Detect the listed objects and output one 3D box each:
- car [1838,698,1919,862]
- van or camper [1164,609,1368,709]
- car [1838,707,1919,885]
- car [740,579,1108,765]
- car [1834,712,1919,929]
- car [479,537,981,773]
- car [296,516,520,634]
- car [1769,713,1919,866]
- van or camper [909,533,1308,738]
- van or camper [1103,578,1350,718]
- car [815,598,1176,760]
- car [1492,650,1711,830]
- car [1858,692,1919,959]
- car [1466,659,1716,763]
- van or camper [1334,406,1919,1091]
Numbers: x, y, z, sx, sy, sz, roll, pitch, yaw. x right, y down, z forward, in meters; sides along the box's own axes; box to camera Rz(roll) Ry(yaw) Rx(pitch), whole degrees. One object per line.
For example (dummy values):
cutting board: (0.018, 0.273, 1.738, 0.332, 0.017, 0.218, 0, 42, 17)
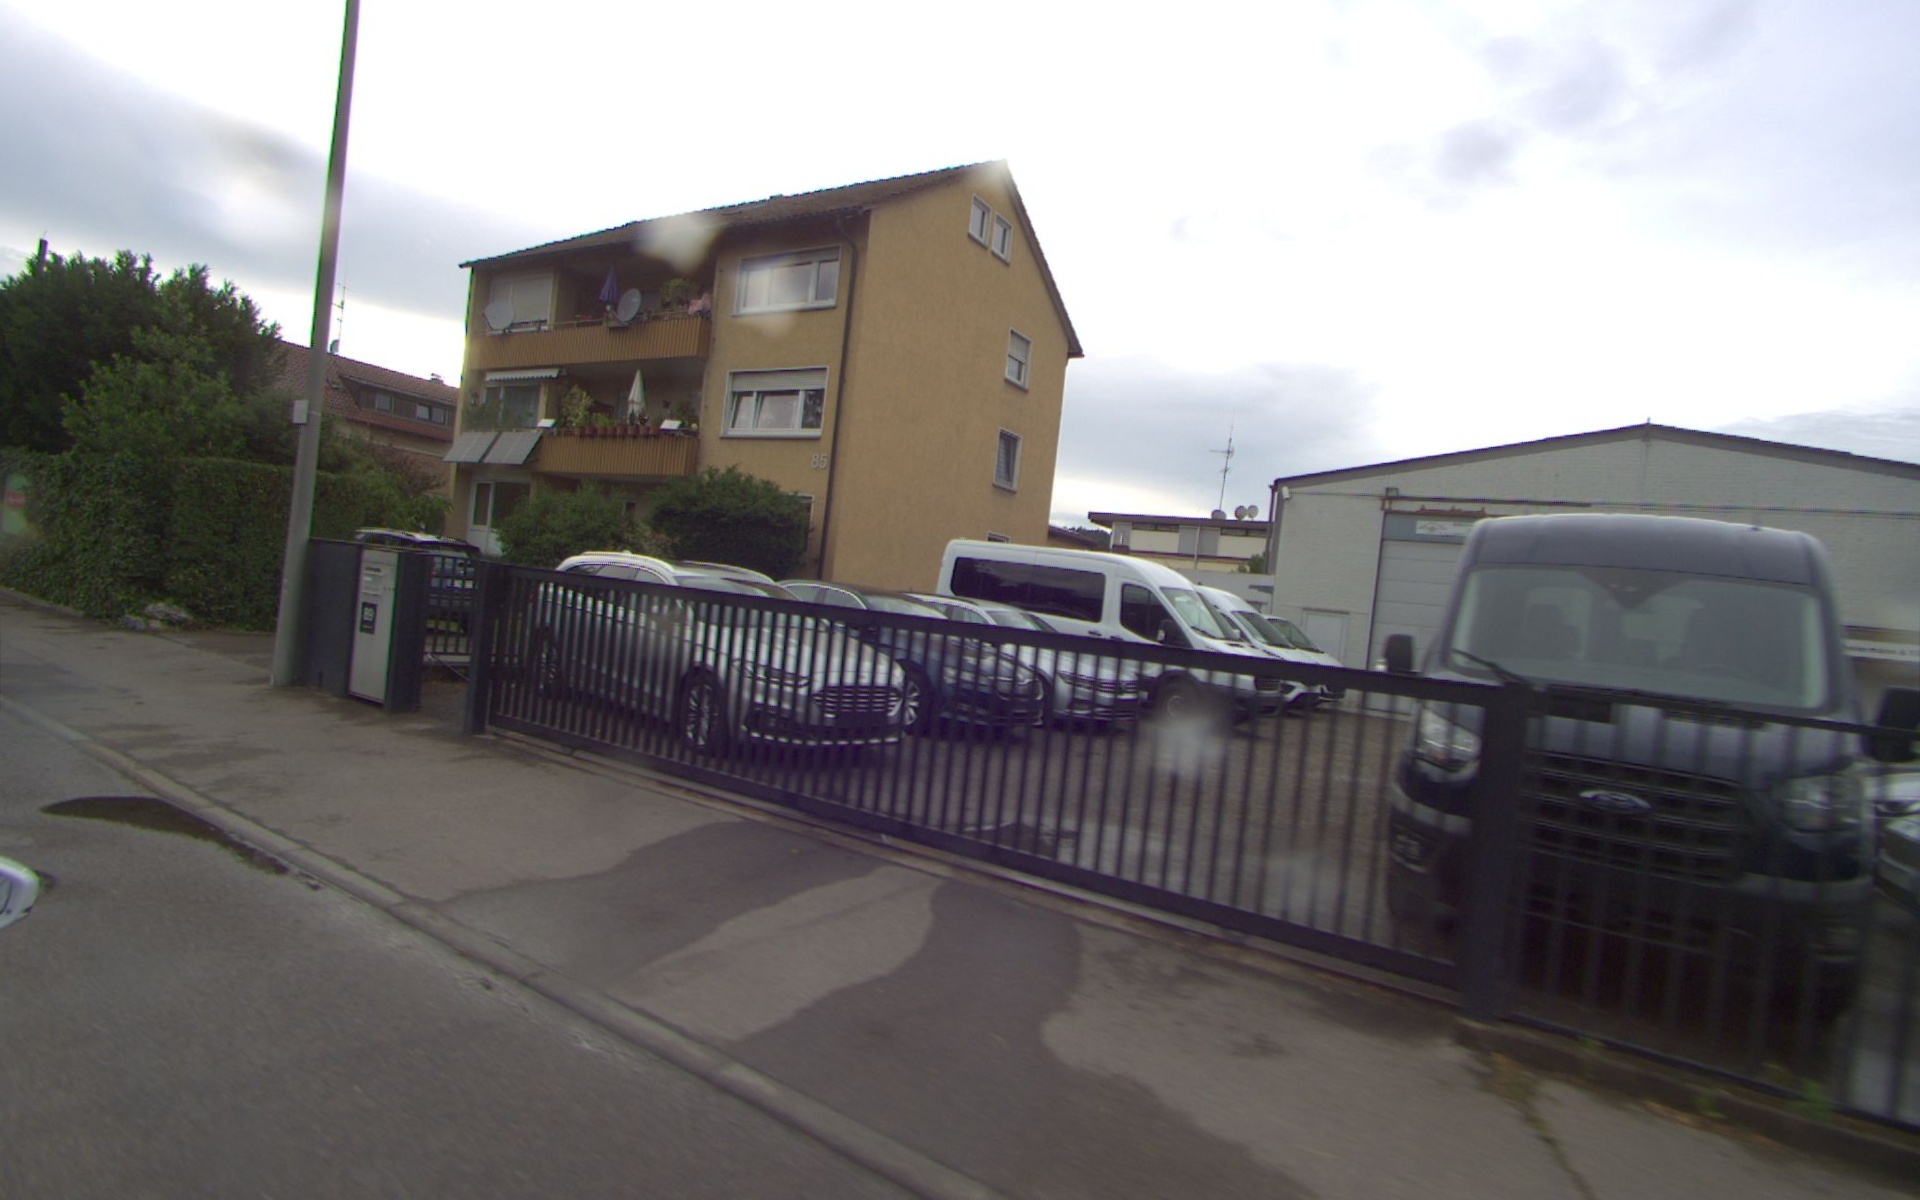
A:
car: (13.797, 2.522, 13.155, 3.083, 2.073, 1.581, 5, -4, 29)
van or camper: (6.926, 1.308, 22.993, 1.809, 1.841, 3.951, 9, -4, -44)
car: (10.766, 2.046, 9.170, 3.906, 1.616, 1.631, 4, -4, 36)
car: (-0.554, 0.769, 11.720, 4.047, 1.668, 1.880, 3, -4, 44)
car: (9.055, 1.865, 7.226, 3.939, 1.584, 1.663, 4, -4, 36)
car: (-2.466, 0.410, 9.697, 5.170, 1.668, 2.118, 3, -4, 44)
car: (-9.082, -0.442, 16.447, 3.942, 1.564, 1.662, 4, -4, 38)
car: (11.913, 2.342, 11.508, 3.939, 1.570, 1.663, 4, -4, 36)
van or camper: (2.200, 0.450, 16.236, 5.931, 2.712, 2.058, 4, -2, 38)
van or camper: (5.394, 0.918, 20.773, 2.071, 2.436, 4.353, 9, -4, -40)
car: (0.337, 1.026, 14.087, 4.759, 1.668, 2.085, 3, -4, 44)
car: (7.410, 1.542, 11.483, 1.683, 1.499, 4.327, 5, -3, 36)
car: (7.697, 1.601, 5.428, 3.938, 1.584, 1.663, 7, -2, 36)
car: (12.352, 2.172, 20.013, 3.932, 1.495, 1.999, 5, -4, 29)
van or camper: (4.353, 0.758, 6.717, 2.098, 2.514, 5.913, 5, -3, 33)
